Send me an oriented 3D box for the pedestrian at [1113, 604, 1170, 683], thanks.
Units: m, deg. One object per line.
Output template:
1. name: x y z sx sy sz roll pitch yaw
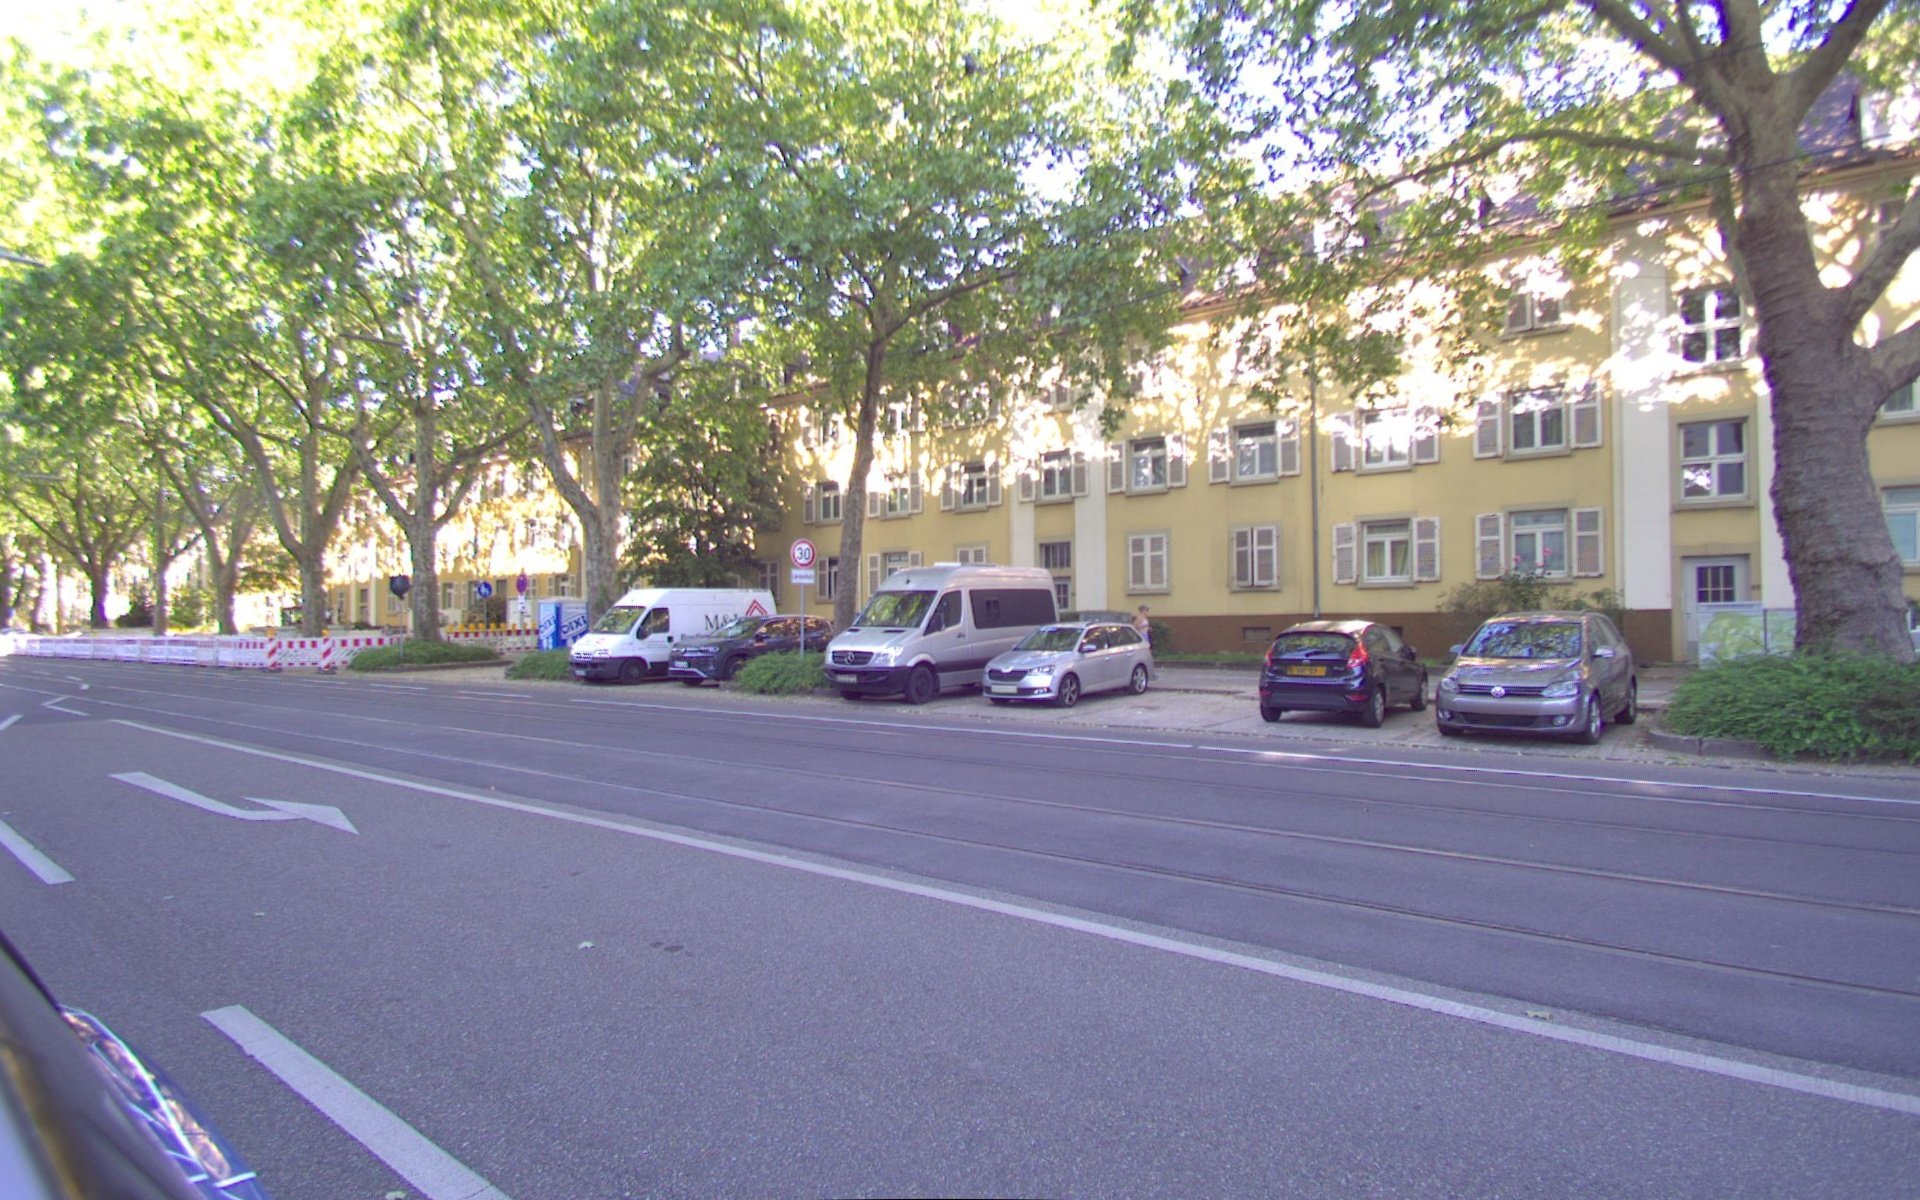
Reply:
1. pedestrian: 3.954 0.930 22.073 0.956 1.673 0.763 -1 0 44

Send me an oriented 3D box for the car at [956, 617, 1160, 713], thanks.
1. car: 1.917 1.116 18.833 1.773 1.509 4.031 -2 -1 41

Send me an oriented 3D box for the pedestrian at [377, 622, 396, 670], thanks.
1. pedestrian: -21.676 1.717 38.236 0.573 1.759 0.654 -1 0 -32

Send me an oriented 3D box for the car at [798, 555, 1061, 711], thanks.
1. car: -0.422 0.604 20.445 2.221 2.702 5.596 -2 -1 38

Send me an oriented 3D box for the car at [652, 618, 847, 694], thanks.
1. car: -4.974 1.271 24.445 1.772 1.664 4.570 -2 -2 38

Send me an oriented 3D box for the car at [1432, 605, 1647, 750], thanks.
1. car: 7.748 0.894 13.365 1.672 1.592 3.928 -2 -1 41

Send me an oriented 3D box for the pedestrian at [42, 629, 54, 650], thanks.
1. pedestrian: -81.211 3.519 90.109 0.722 1.900 0.665 -1 0 -45

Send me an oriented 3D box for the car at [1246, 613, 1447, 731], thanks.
1. car: 5.971 0.997 15.416 1.671 1.509 3.756 -2 -1 41

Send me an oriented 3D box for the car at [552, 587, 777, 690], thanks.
1. car: -7.556 0.959 26.372 2.222 2.394 5.336 -2 -2 40
